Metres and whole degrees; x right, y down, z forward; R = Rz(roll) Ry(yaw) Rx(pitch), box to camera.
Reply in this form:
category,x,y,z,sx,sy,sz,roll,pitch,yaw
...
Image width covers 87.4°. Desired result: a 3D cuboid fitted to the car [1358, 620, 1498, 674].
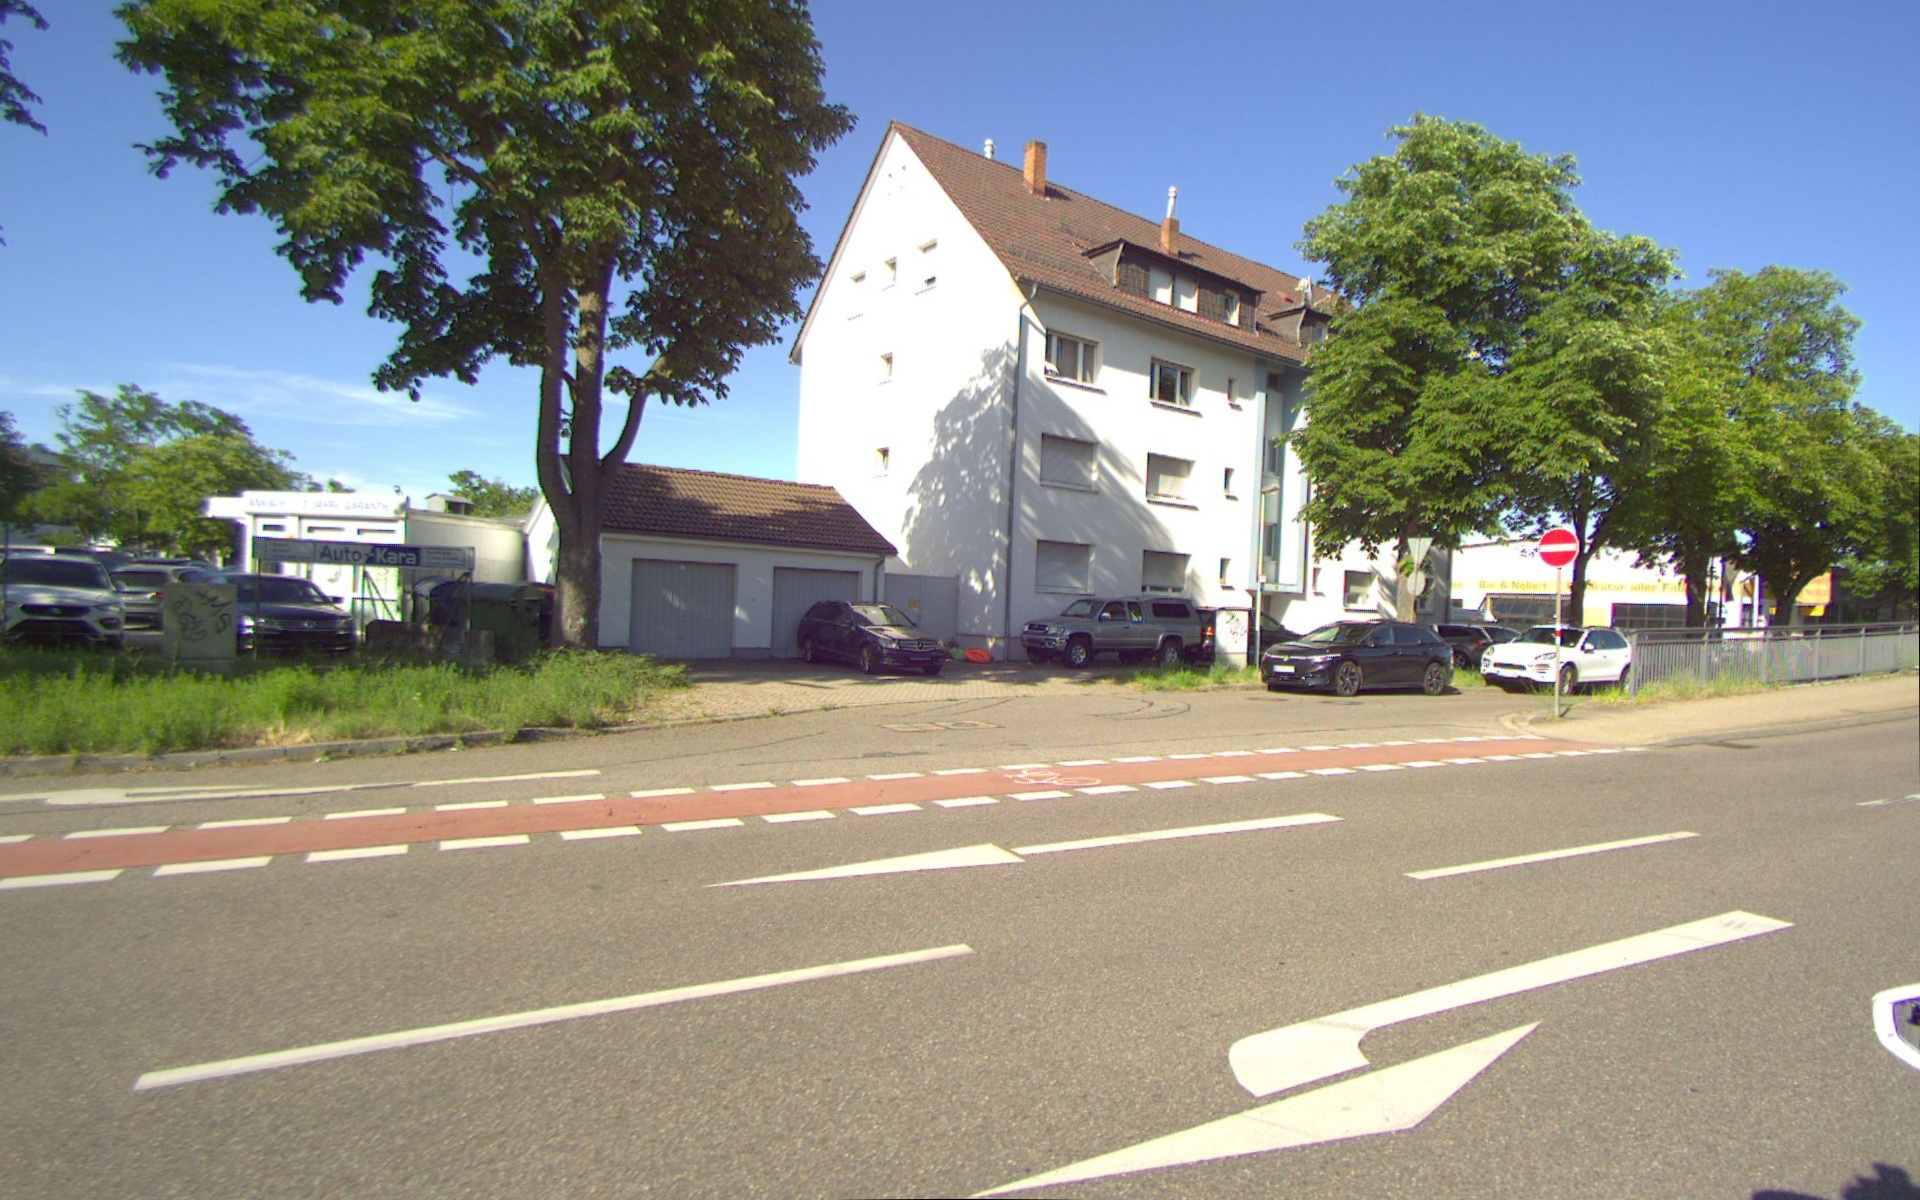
category,x,y,z,sx,sy,sz,roll,pitch,yaw
car,15.633,1.519,33.594,3.935,1.619,1.993,1,0,36

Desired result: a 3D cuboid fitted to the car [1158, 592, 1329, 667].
category,x,y,z,sx,sy,sz,roll,pitch,yaw
car,8.097,0.846,28.546,4.737,1.956,2.056,2,0,-34

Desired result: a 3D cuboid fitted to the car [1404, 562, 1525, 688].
category,x,y,z,sx,sy,sz,roll,pitch,yaw
car,23.601,1.220,46.945,5.896,2.552,2.129,38,5,-33

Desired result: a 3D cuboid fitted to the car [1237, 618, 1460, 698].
category,x,y,z,sx,sy,sz,roll,pitch,yaw
car,8.437,1.220,21.658,4.911,1.483,2.025,2,0,-34

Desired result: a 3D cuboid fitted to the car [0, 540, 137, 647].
category,x,y,z,sx,sy,sz,roll,pitch,yaw
car,-15.473,-0.124,17.306,1.907,1.632,3.953,2,0,-40

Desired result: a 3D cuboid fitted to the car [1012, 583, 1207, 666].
category,x,y,z,sx,sy,sz,roll,pitch,yaw
car,3.909,0.654,25.848,5.047,1.956,1.737,2,0,-33

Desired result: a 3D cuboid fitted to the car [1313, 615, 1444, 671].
category,x,y,z,sx,sy,sz,roll,pitch,yaw
car,13.306,1.317,31.951,3.604,1.530,1.781,2,1,31

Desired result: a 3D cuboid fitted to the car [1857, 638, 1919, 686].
category,x,y,z,sx,sy,sz,roll,pitch,yaw
car,43.513,2.811,46.351,4.208,2.018,1.914,2,1,-31

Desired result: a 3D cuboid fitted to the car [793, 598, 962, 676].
category,x,y,z,sx,sy,sz,roll,pitch,yaw
car,-1.903,0.763,22.061,1.890,1.448,3.958,2,0,-36

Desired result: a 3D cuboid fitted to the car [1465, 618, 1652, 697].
category,x,y,z,sx,sy,sz,roll,pitch,yaw
car,15.320,1.434,25.618,5.181,1.752,2.025,2,1,-34

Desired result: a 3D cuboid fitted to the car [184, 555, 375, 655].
category,x,y,z,sx,sy,sz,roll,pitch,yaw
car,-12.380,0.029,18.167,4.343,1.596,1.805,2,1,41
